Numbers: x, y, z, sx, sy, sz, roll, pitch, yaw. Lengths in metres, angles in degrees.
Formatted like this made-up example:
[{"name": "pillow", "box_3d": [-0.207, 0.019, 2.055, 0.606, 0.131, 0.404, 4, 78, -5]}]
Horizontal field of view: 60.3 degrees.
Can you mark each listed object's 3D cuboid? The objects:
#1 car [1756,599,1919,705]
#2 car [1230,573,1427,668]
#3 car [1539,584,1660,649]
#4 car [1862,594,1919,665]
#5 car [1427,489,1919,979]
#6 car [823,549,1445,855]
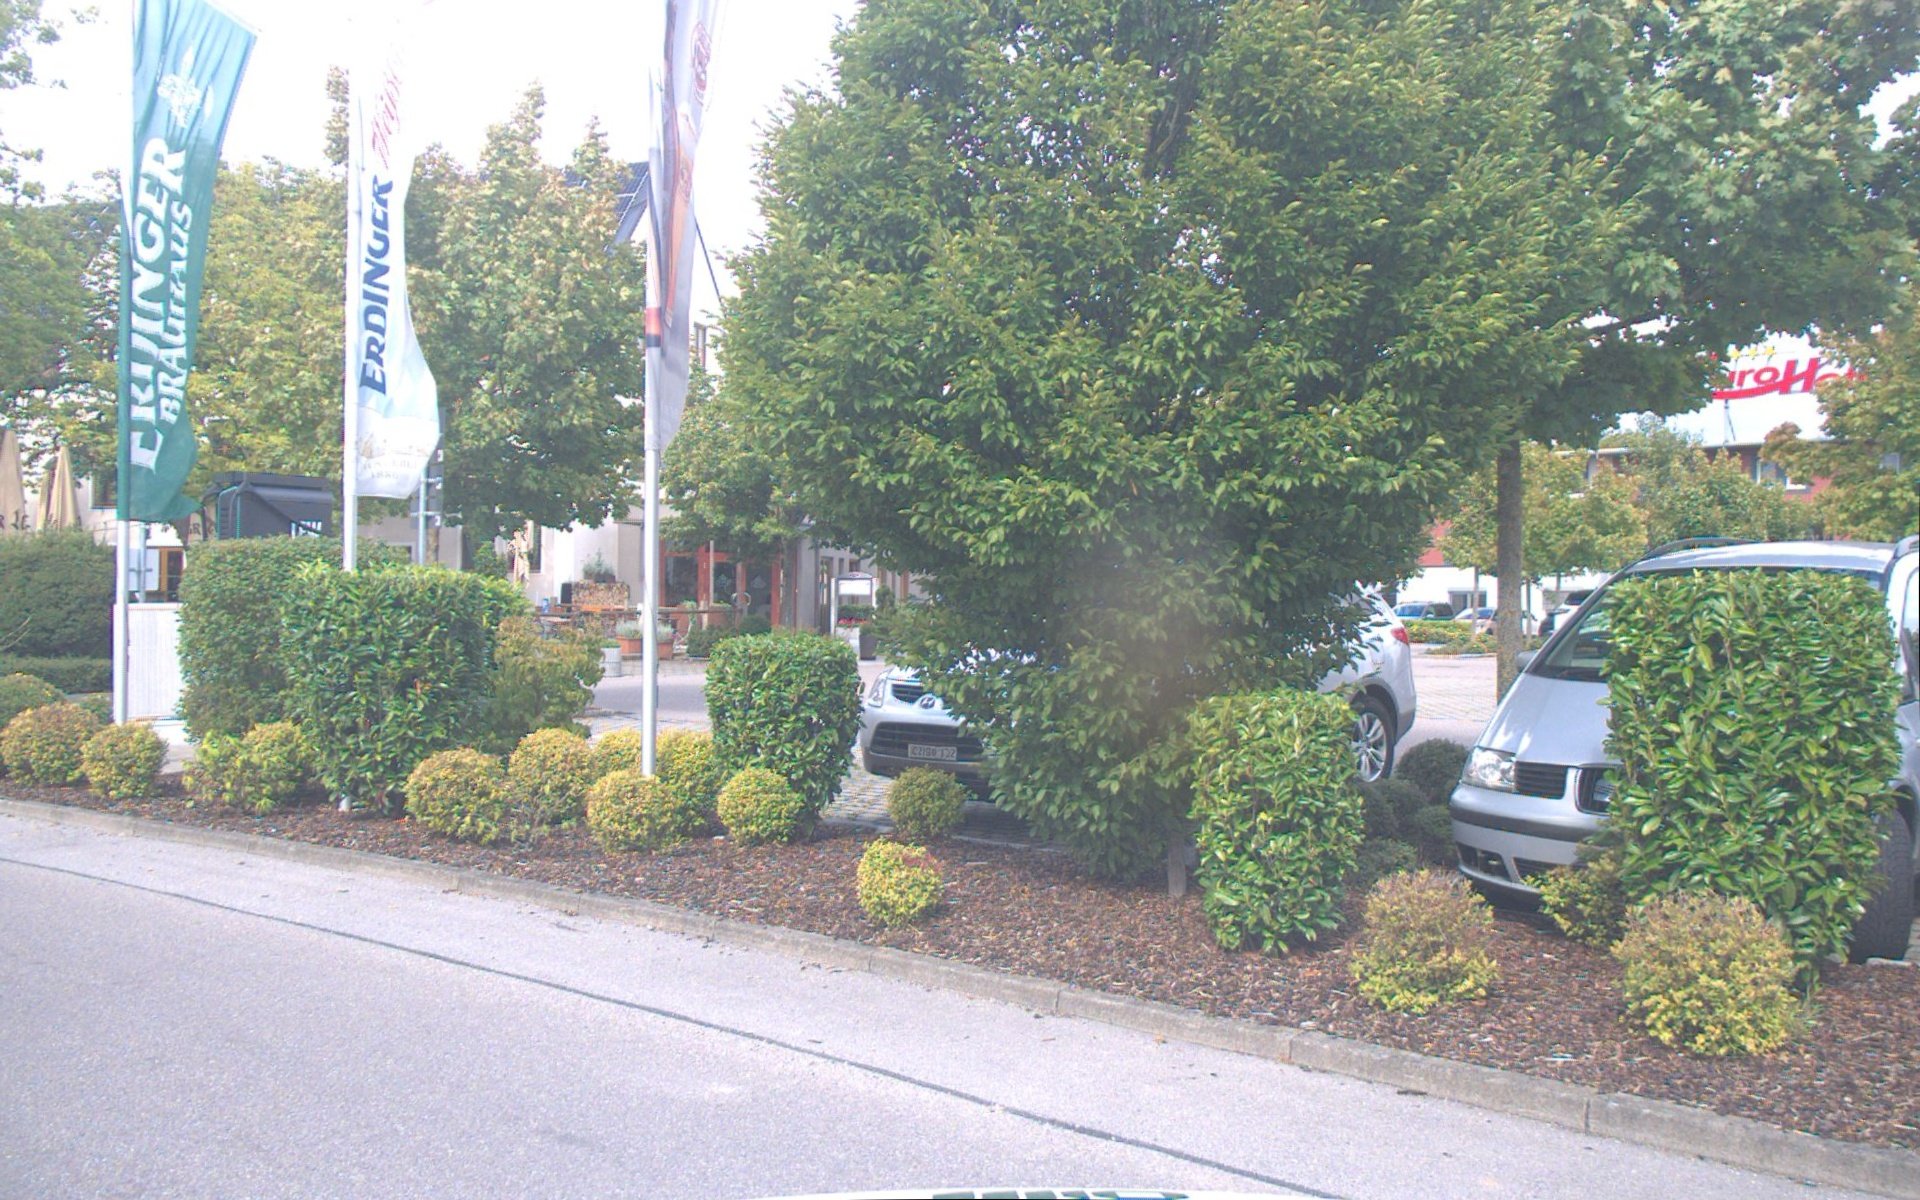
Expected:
[{"name": "car", "box_3d": [12.930, 0.699, 23.684, 1.690, 1.369, 4.251, 0, 0, 41]}, {"name": "car", "box_3d": [6.831, 0.368, 30.439, 1.737, 1.619, 3.973, 0, 0, 44]}, {"name": "car", "box_3d": [15.970, 0.415, 41.203, 1.788, 1.526, 3.829, 0, 0, 38]}, {"name": "car", "box_3d": [21.753, 0.663, 37.013, 1.630, 1.510, 4.213, 0, -1, 45]}, {"name": "car", "box_3d": [4.094, 0.500, 8.028, 1.630, 1.746, 4.332, 0, -1, 45]}, {"name": "car", "box_3d": [1.412, 0.555, 11.675, 1.887, 1.726, 4.646, -1, 0, 45]}]
